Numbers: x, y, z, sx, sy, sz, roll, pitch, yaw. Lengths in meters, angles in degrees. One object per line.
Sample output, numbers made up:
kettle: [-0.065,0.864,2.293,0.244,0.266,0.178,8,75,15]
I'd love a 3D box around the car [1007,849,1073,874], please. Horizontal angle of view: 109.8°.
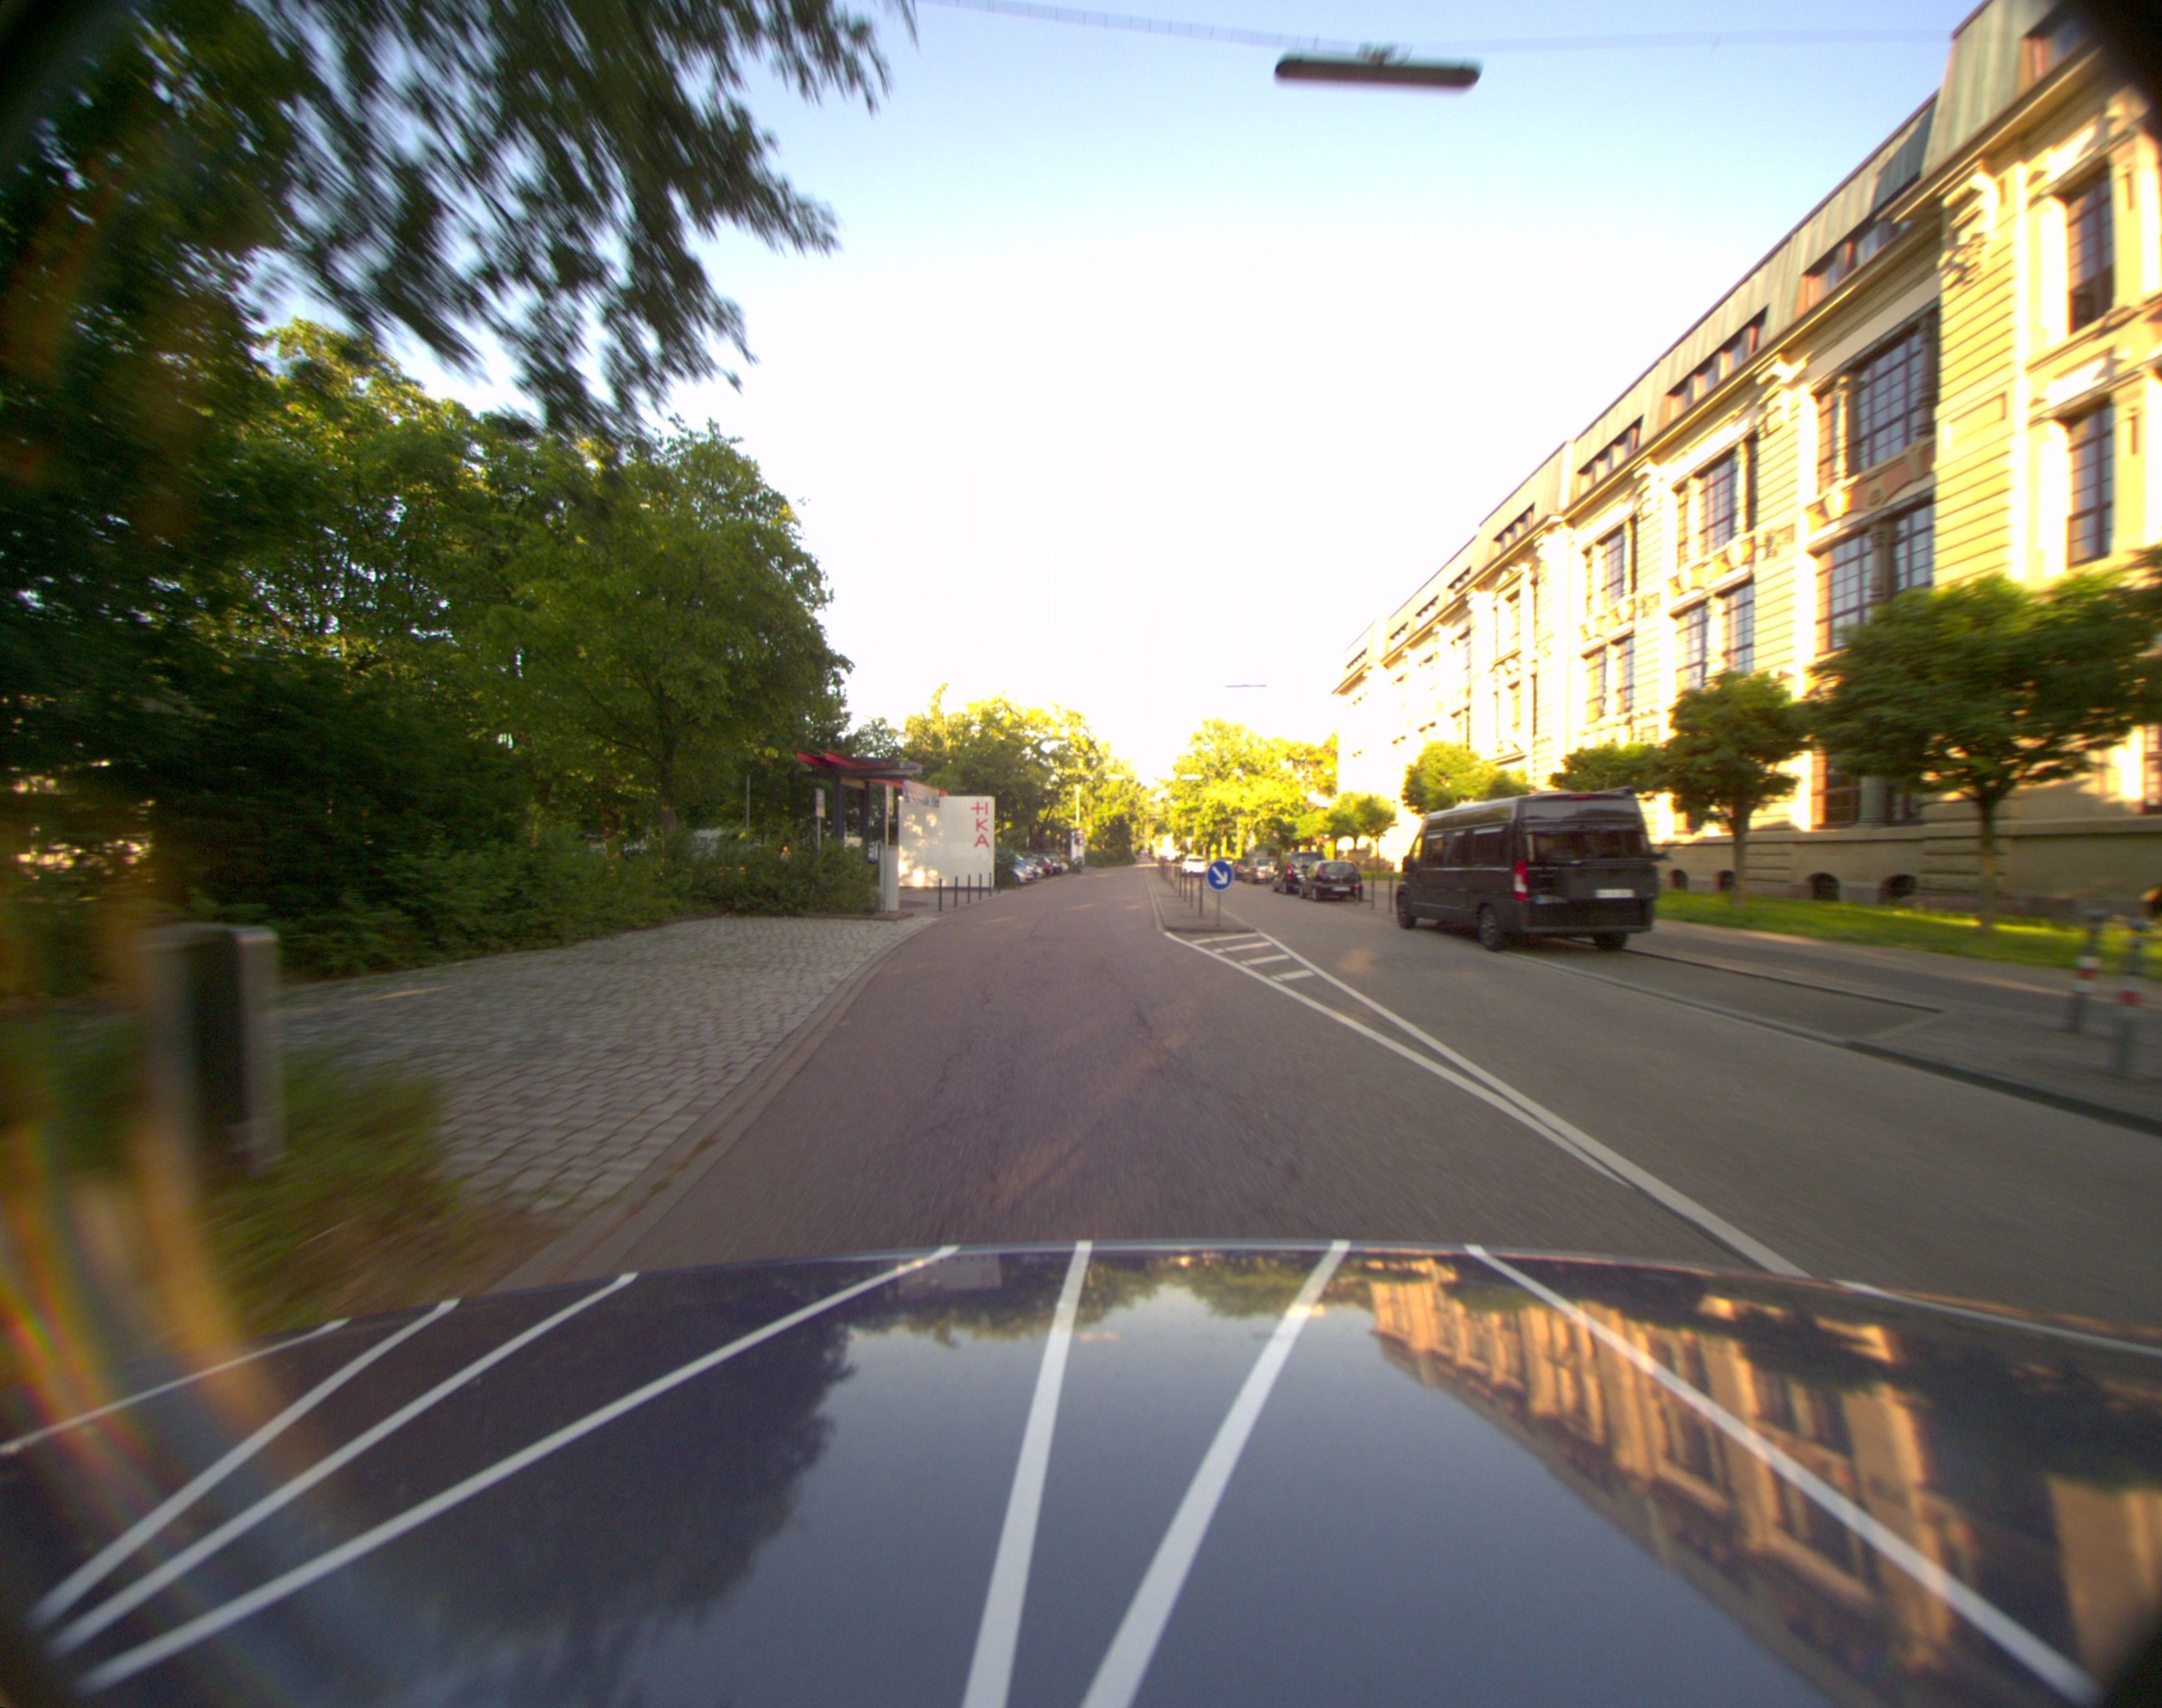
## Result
car: [-2.826,0.496,53.103,4.372,1.545,1.876,2,1,4]

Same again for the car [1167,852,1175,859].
car: [21.269,0.348,179.709,1.775,1.474,4.110,-1,0,5]

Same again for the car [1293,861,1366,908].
car: [8.807,1.040,27.223,1.700,1.462,3.856,-2,0,6]

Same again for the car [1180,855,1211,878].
car: [8.113,0.865,54.155,1.745,1.450,4.625,1,1,4]

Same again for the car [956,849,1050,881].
car: [-4.356,0.597,42.775,4.937,1.545,1.916,2,1,4]

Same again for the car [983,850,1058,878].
car: [-3.720,0.582,47.470,4.372,1.528,1.921,2,1,4]

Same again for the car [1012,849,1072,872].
car: [-2.961,0.504,58.276,4.372,1.545,1.728,2,1,4]

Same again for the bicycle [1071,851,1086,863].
bicycle: [-0.211,0.283,76.438,0.492,1.141,2.289,4,0,25]

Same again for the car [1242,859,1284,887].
car: [10.372,1.031,43.557,1.722,1.487,4.379,0,0,5]

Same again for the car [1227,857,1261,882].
car: [10.804,0.997,50.468,1.621,1.487,4.378,0,0,4]

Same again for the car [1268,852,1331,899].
car: [9.337,0.873,32.792,1.781,1.855,4.334,-2,0,5]

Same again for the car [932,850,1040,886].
car: [-4.640,0.678,37.576,4.937,1.545,1.916,2,1,4]

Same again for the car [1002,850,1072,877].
car: [-2.894,0.611,50.516,4.372,1.528,1.921,2,1,4]

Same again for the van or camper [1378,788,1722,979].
van or camper: [7.682,0.376,13.754,2.234,2.529,7.081,-1,0,4]

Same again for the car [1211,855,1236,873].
car: [11.817,0.816,63.191,1.621,1.487,3.925,0,0,4]

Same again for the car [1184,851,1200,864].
car: [15.010,0.477,102.590,1.807,1.607,4.148,0,1,4]

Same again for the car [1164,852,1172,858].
car: [23.961,0.263,209.390,1.775,1.559,4.110,-1,0,5]

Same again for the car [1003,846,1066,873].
car: [-3.372,0.408,56.051,4.372,1.770,1.921,2,1,4]

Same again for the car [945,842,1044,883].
car: [-4.539,0.432,40.279,4.863,1.905,1.916,2,1,4]
